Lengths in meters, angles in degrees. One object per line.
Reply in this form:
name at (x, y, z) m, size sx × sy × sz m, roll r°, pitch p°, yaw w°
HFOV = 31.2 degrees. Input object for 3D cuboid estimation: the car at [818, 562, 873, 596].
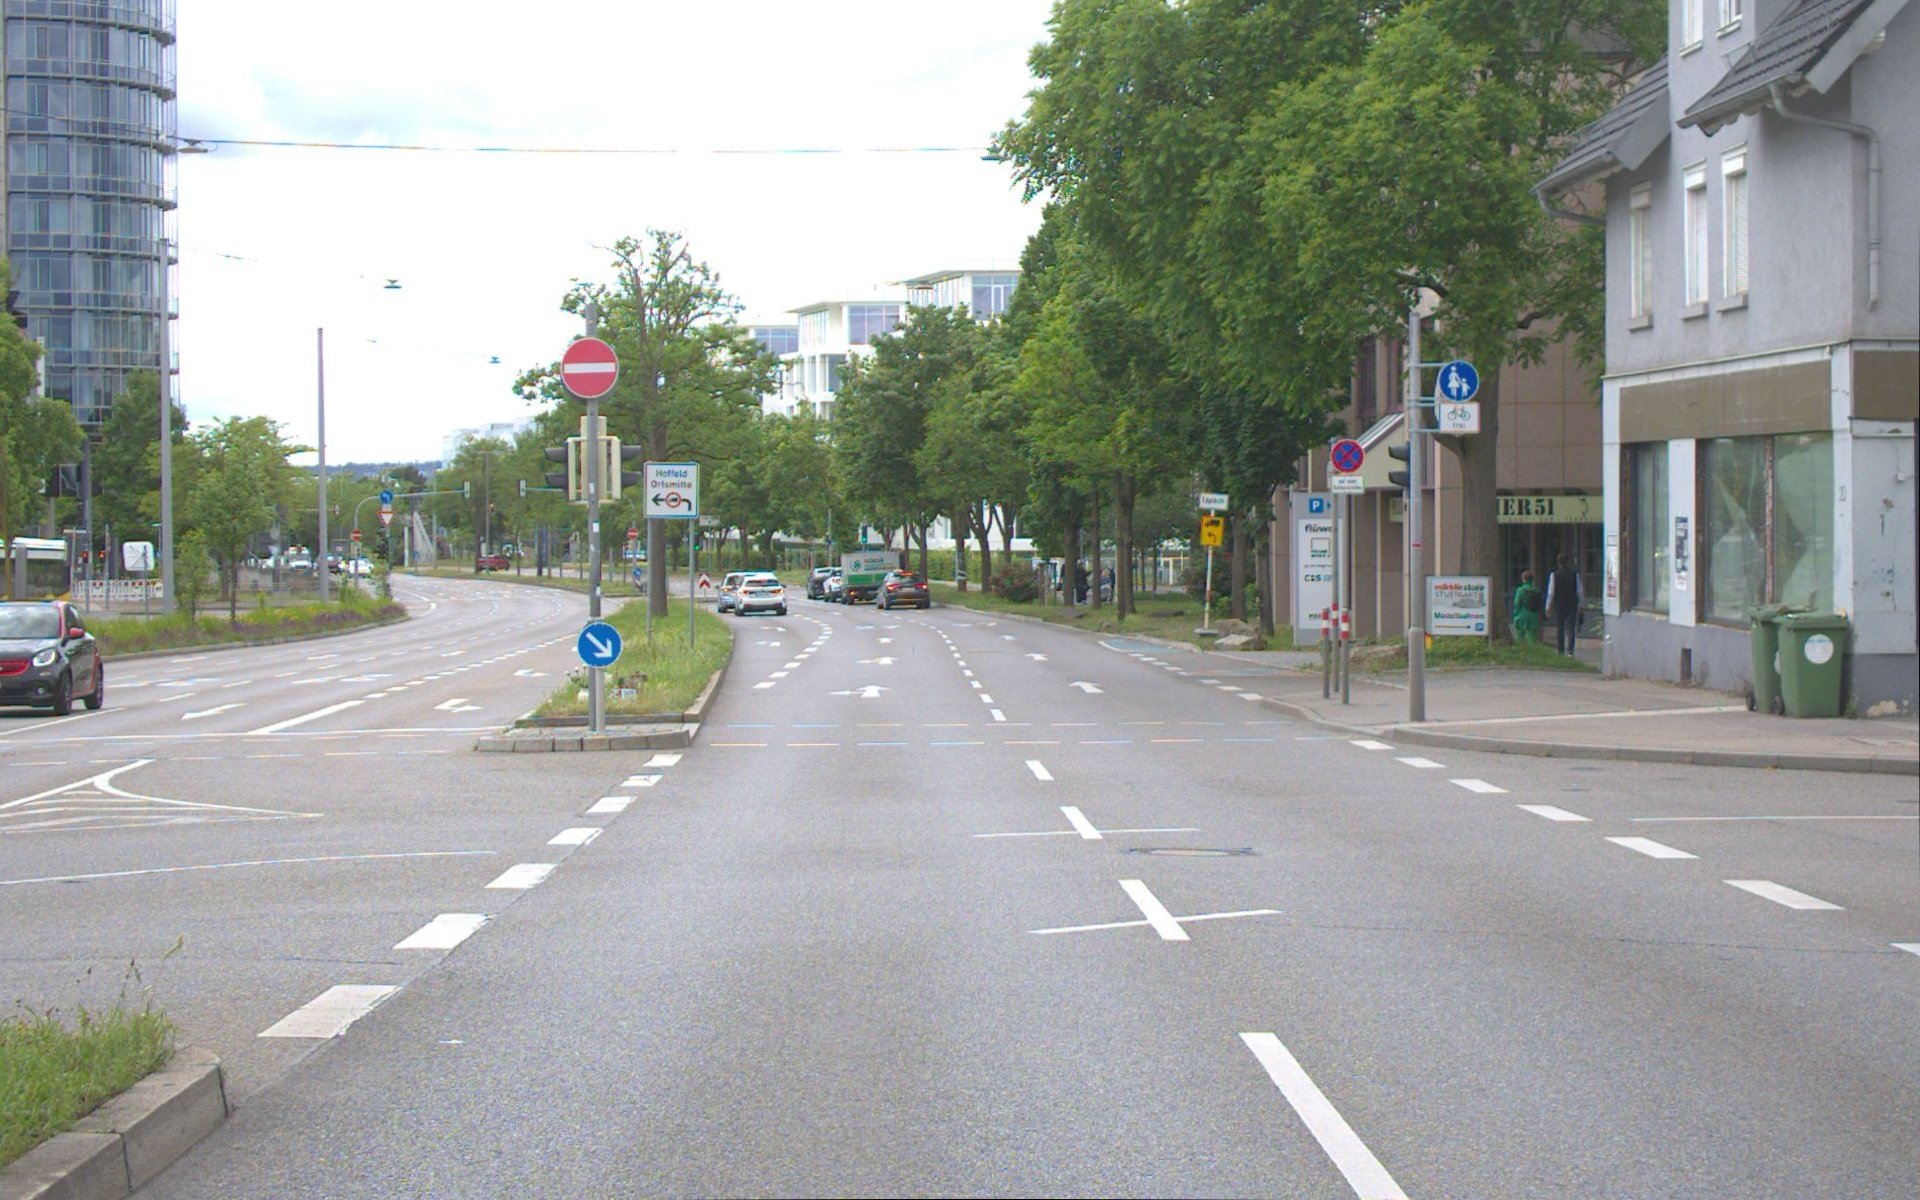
car at (-5.127, -0.952, 154.029) m, size 1.993 × 1.503 × 4.001 m, roll -1°, pitch 1°, yaw -9°

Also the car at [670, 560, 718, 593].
car at (-12.525, -1.099, 162.122) m, size 1.993 × 1.503 × 4.000 m, roll 0°, pitch 0°, yaw 0°

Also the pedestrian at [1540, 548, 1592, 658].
pedestrian at (10.263, 0.044, 58.211) m, size 0.657 × 1.820 × 0.843 m, roll -2°, pitch 0°, yaw -1°

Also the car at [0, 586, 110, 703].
car at (-12.598, 0.574, 46.250) m, size 1.658 × 1.503 × 3.769 m, roll -1°, pitch 0°, yaw -5°

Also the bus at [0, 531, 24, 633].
bus at (-30.863, -0.555, 103.399) m, size 3.083 × 3.152 × 10.739 m, roll 1°, pitch 1°, yaw -4°

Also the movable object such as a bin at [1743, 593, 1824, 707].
movable object such as a bin at (8.106, 0.486, 33.851) m, size 0.608 × 1.100 × 0.710 m, roll 0°, pitch 0°, yaw -2°

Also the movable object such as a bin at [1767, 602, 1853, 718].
movable object such as a bin at (8.164, 0.571, 33.028) m, size 0.626 × 1.100 × 0.710 m, roll 0°, pitch 0°, yaw -2°

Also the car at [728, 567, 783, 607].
car at (-7.573, -0.475, 127.196) m, size 1.863 × 1.444 × 4.001 m, roll -1°, pitch 0°, yaw -5°

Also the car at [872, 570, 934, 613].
car at (-2.195, -0.326, 132.129) m, size 1.993 × 1.590 × 4.001 m, roll -1°, pitch 1°, yaw -6°

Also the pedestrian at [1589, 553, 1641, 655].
pedestrian at (11.076, 0.060, 58.143) m, size 0.657 × 1.685 × 0.843 m, roll -2°, pitch 0°, yaw -1°

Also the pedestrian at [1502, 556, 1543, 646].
pedestrian at (9.787, 0.018, 59.867) m, size 0.561 × 1.544 × 0.544 m, roll -2°, pitch 0°, yaw -1°

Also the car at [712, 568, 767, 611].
car at (-8.646, -0.413, 134.549) m, size 1.993 × 1.666 × 4.001 m, roll -1°, pitch 0°, yaw -5°

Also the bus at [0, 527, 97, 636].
bus at (-31.249, -0.654, 113.772) m, size 3.031 × 3.444 × 9.912 m, roll 1°, pitch 1°, yaw -1°

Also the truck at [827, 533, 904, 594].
truck at (-4.062, -1.524, 146.667) m, size 2.859 × 2.511 × 6.288 m, roll -1°, pitch 0°, yaw -5°
